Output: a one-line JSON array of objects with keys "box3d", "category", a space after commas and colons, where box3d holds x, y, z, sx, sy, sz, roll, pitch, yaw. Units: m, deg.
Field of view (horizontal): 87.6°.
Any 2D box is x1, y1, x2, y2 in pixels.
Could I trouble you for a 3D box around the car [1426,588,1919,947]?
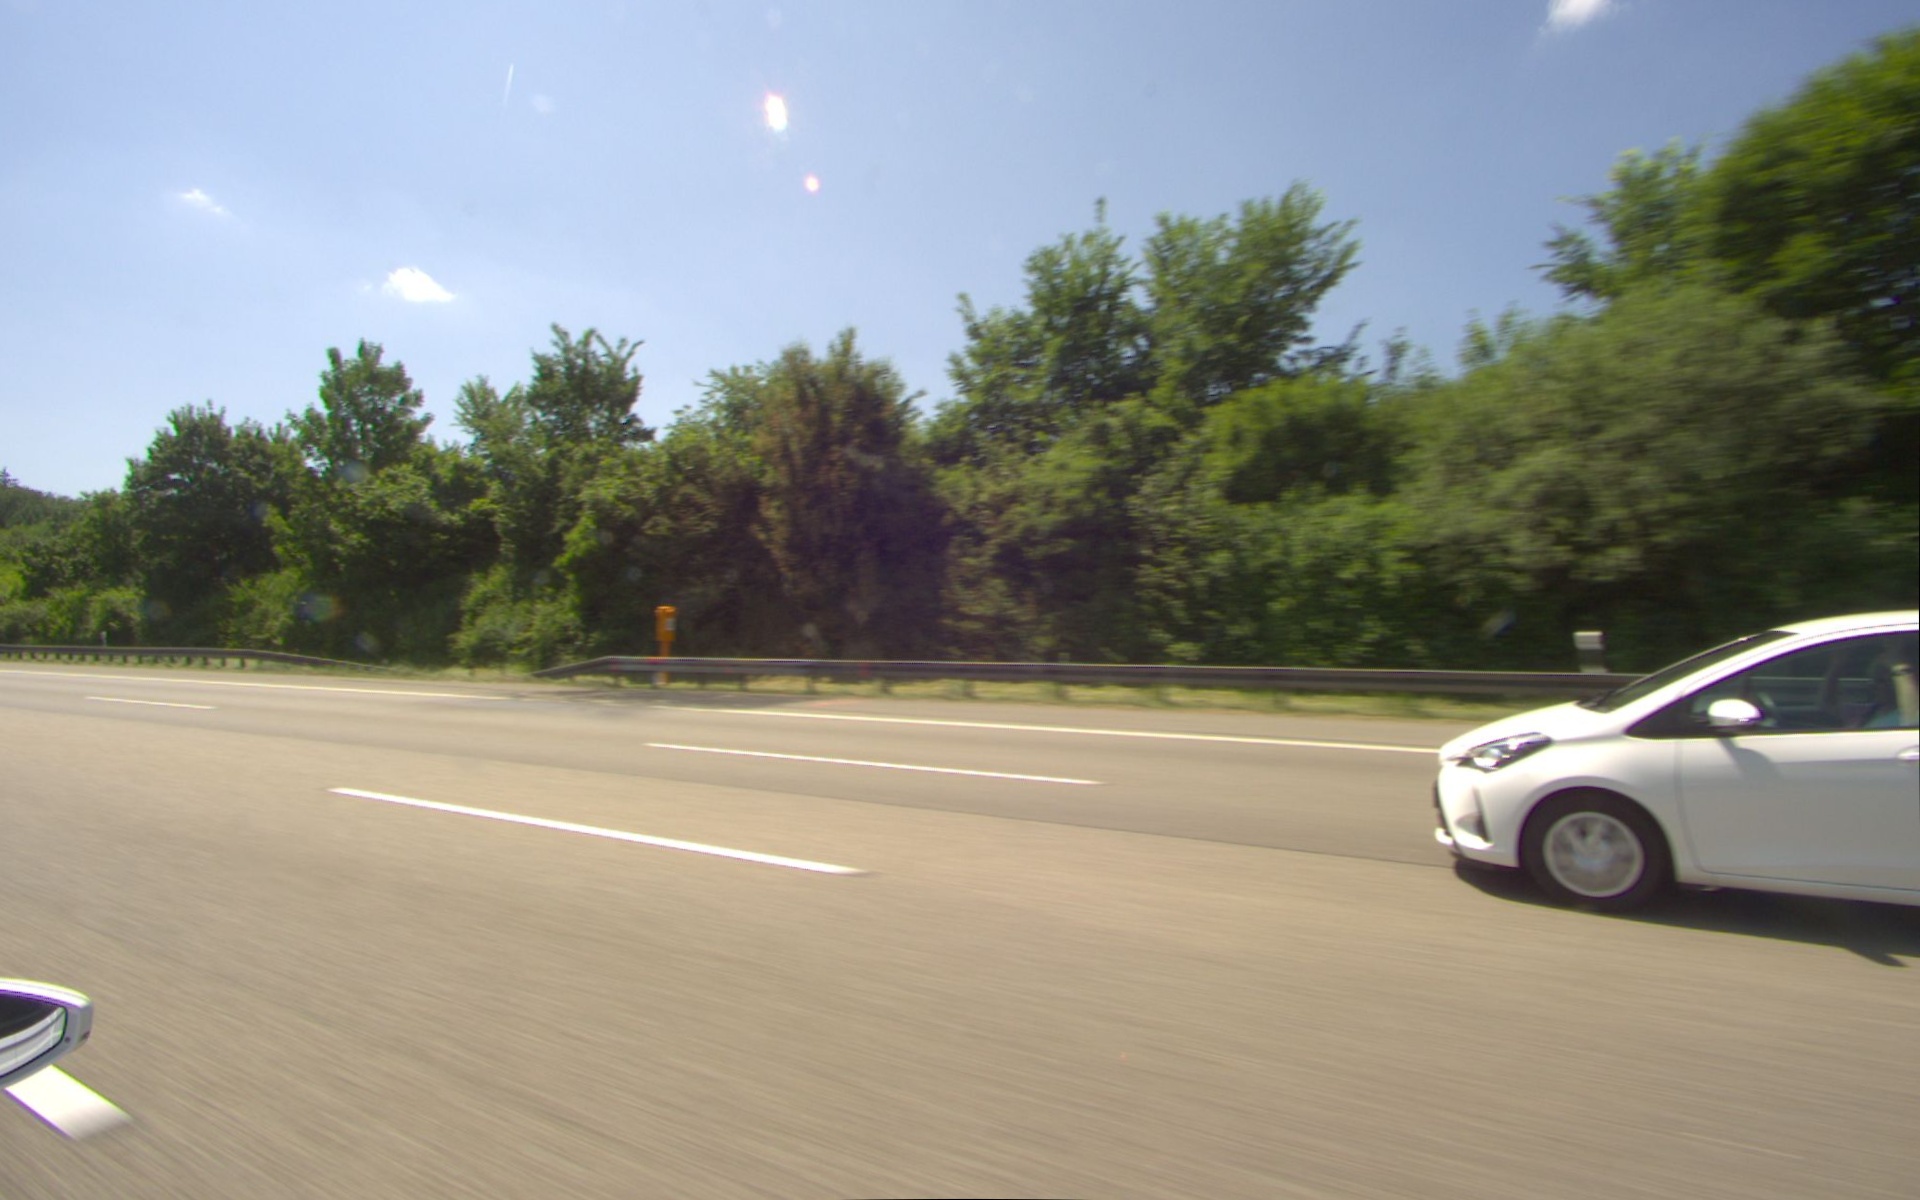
[{"box3d": [4.816, 0.732, 4.896, 4.420, 1.538, 1.747, -2, -2, 32], "category": "car"}]
